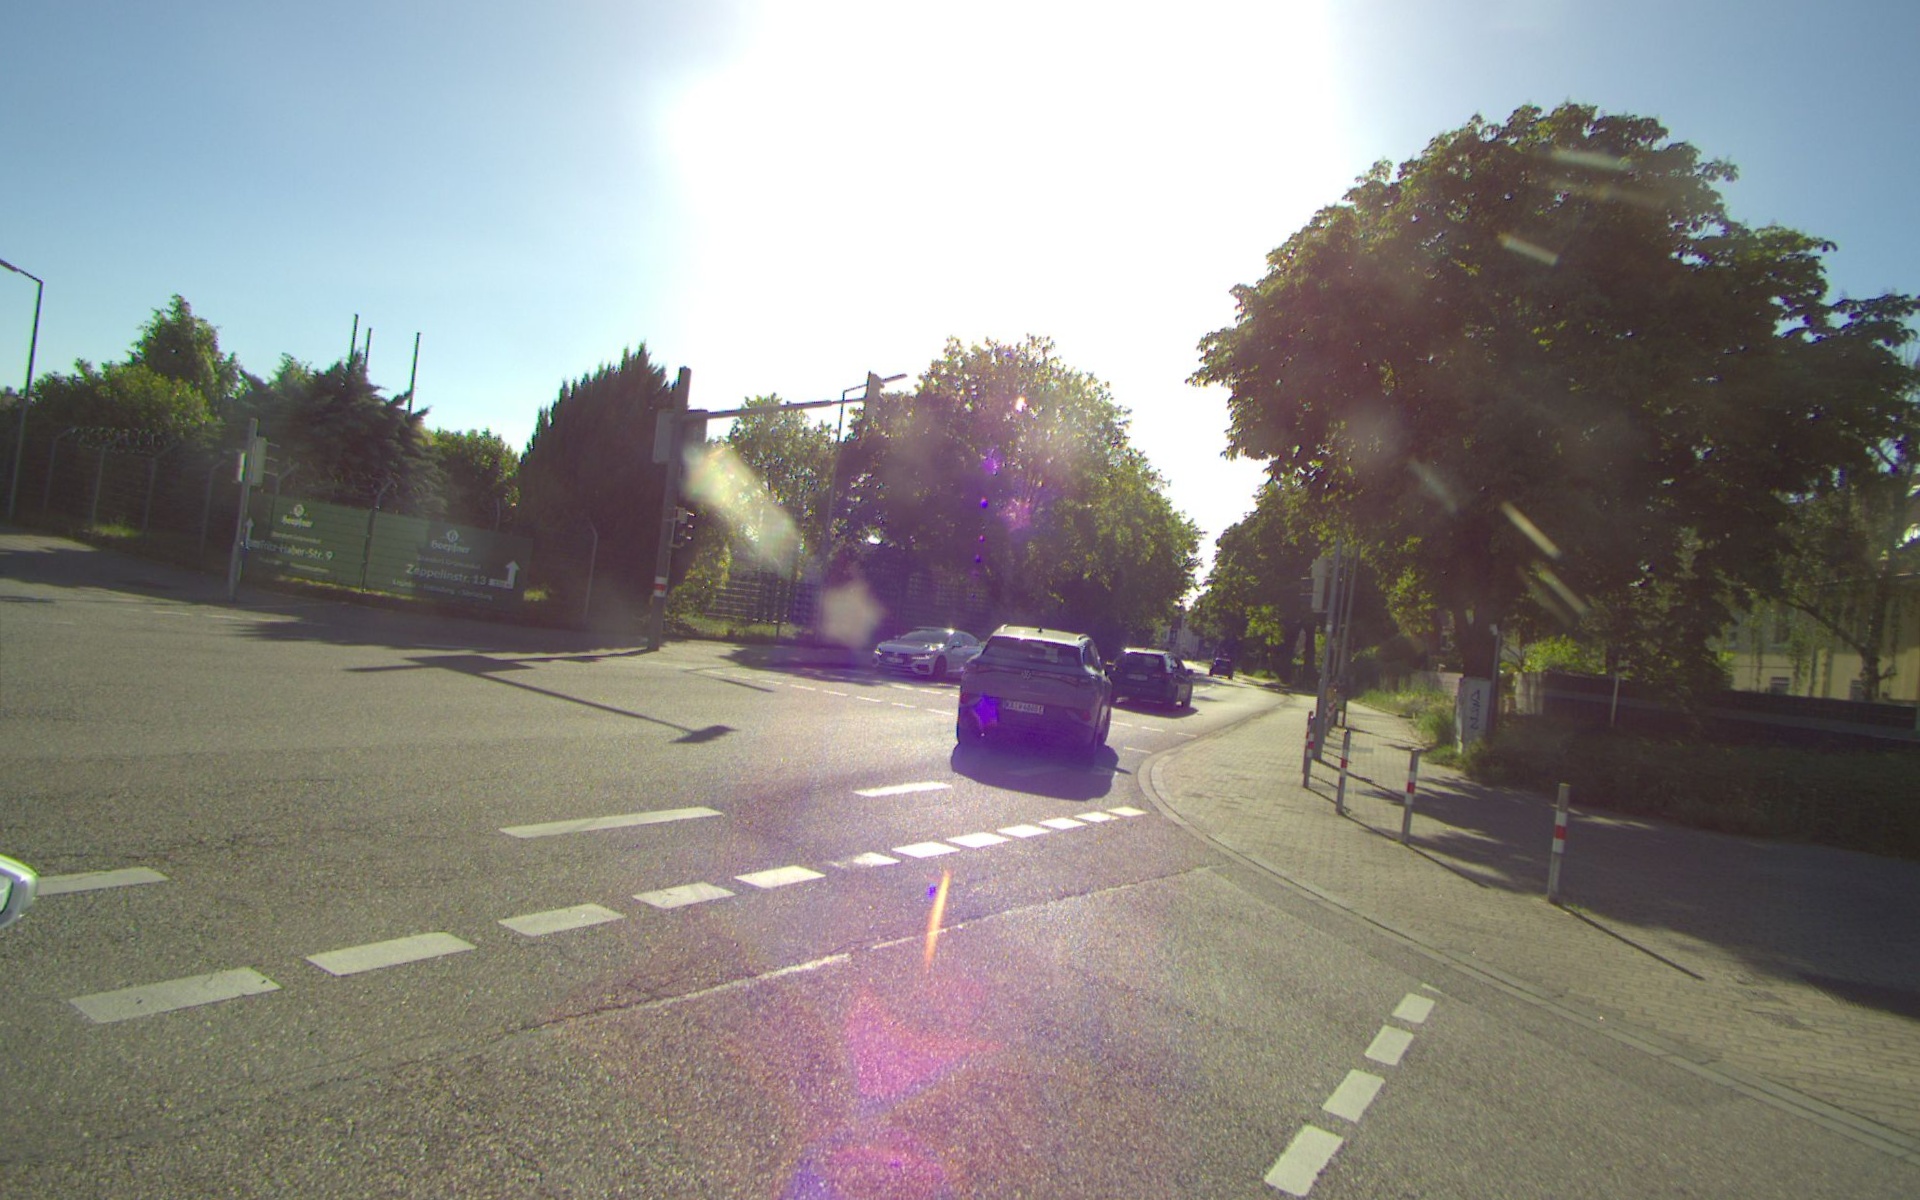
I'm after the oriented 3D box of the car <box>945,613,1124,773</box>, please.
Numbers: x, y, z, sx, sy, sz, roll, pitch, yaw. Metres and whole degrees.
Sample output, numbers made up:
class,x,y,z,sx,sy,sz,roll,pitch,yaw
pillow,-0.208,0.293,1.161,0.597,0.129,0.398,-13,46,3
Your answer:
class,x,y,z,sx,sy,sz,roll,pitch,yaw
car,1.215,1.212,14.100,1.827,1.654,4.261,8,-1,11

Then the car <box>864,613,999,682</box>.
class,x,y,z,sx,sy,sz,roll,pitch,yaw
car,-0.675,1.364,27.754,1.778,1.550,4.513,7,-1,25
